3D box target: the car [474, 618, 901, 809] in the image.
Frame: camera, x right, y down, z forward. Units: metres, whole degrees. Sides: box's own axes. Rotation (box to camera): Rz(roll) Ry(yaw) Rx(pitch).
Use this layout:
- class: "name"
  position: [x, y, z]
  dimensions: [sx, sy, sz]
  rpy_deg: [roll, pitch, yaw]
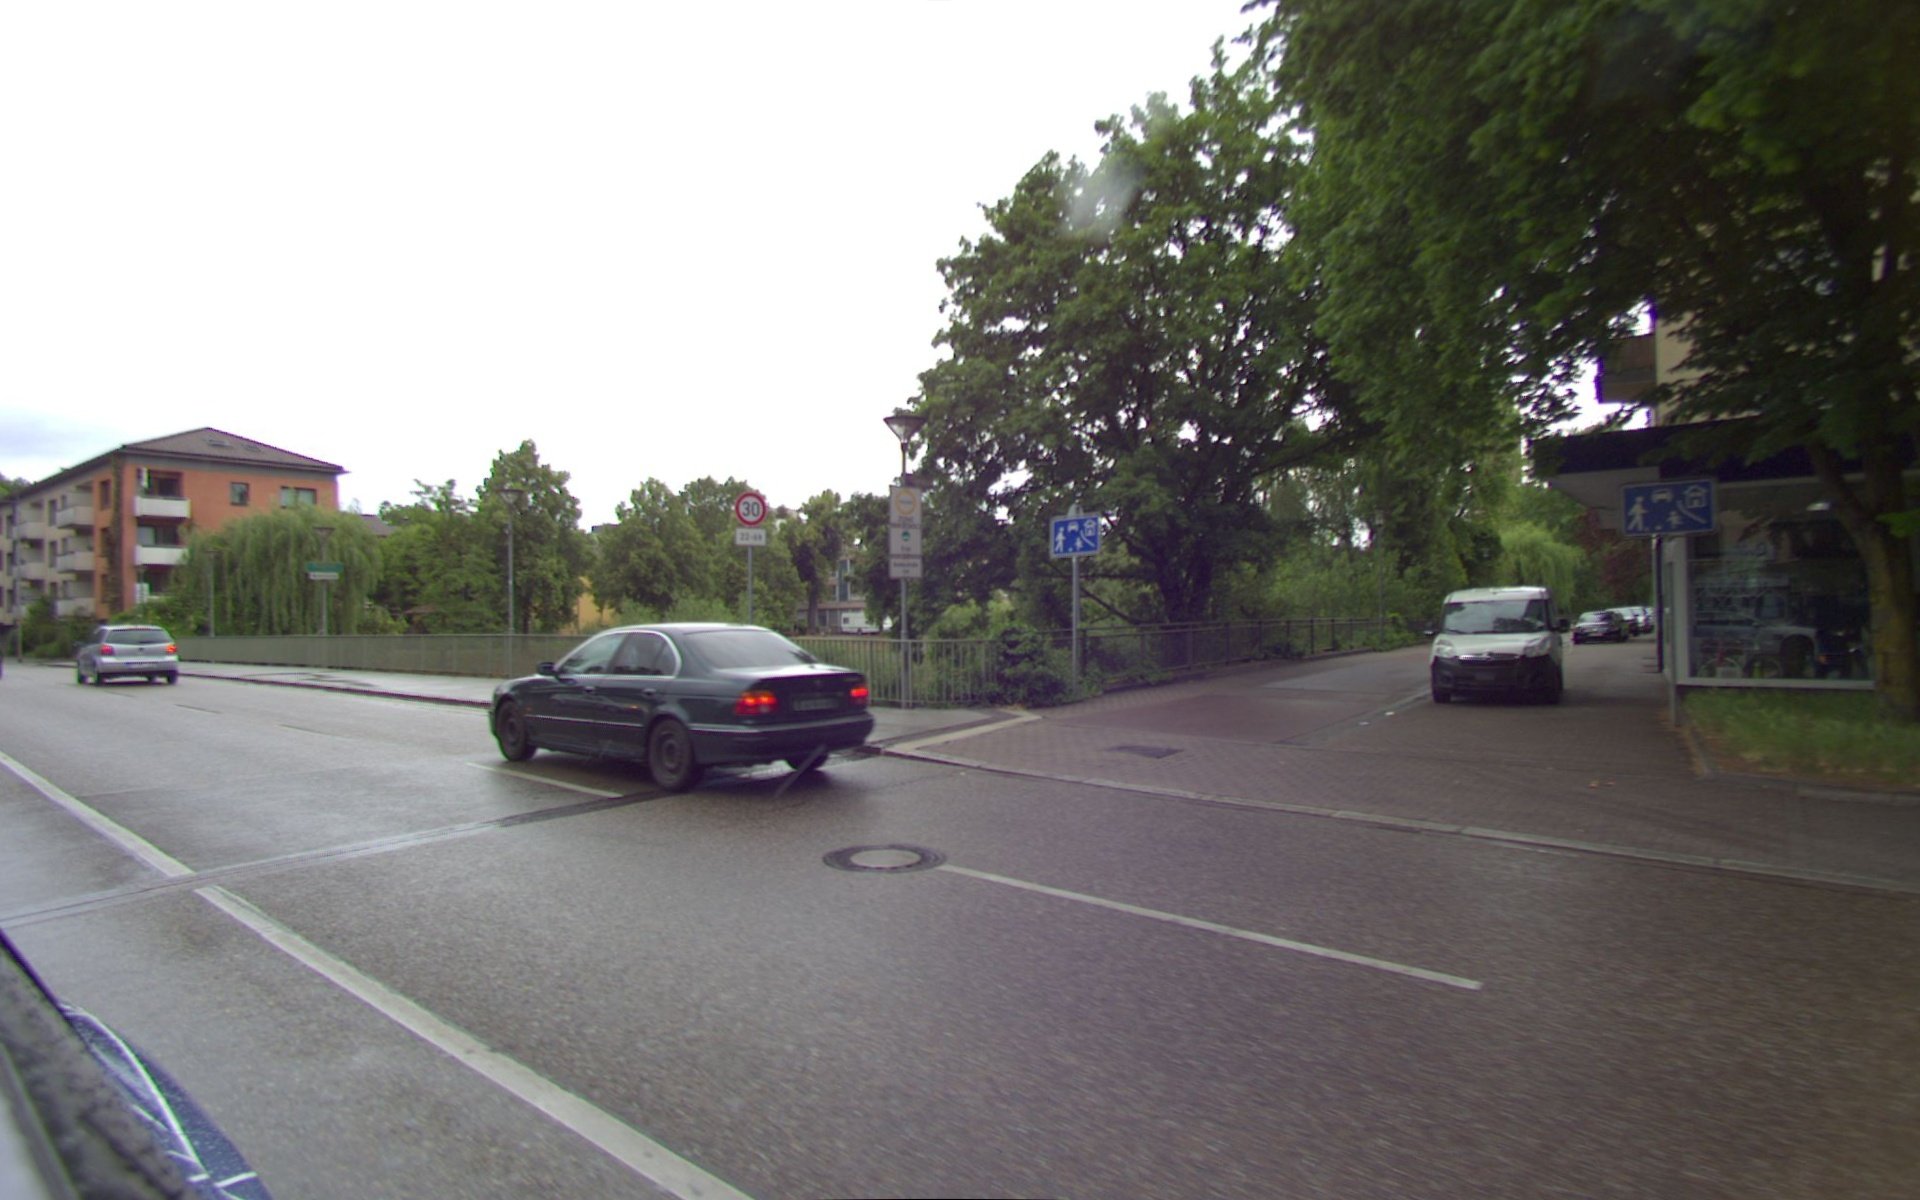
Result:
- class: "car"
  position: [-2.796, 0.924, 9.885]
  dimensions: [4.421, 1.471, 1.712]
  rpy_deg: [-1, -2, 38]

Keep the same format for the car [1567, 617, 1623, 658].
- class: "car"
  position: [29.035, 1.683, 46.370]
  dimensions: [1.993, 1.666, 4.707]
  rpy_deg: [-4, -2, 31]

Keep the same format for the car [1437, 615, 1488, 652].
- class: "car"
  position: [22.877, 1.515, 45.974]
  dimensions: [1.735, 1.593, 3.845]
  rpy_deg: [-2, -2, 31]

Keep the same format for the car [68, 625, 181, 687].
- class: "car"
  position: [-21.040, 1.359, 25.447]
  dimensions: [3.684, 1.430, 1.609]
  rpy_deg: [-1, -2, 41]

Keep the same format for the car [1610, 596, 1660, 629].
- class: "car"
  position: [37.195, 0.673, 55.830]
  dimensions: [1.993, 1.666, 4.707]
  rpy_deg: [-4, -2, 31]

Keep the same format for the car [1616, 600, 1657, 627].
- class: "car"
  position: [45.366, 0.920, 67.966]
  dimensions: [1.993, 1.666, 4.707]
  rpy_deg: [-4, -2, 31]

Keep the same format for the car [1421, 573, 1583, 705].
- class: "car"
  position: [9.133, 0.616, 16.870]
  dimensions: [1.993, 1.868, 4.707]
  rpy_deg: [-4, -2, 31]

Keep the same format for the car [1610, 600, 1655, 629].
- class: "car"
  position: [41.654, 0.897, 62.748]
  dimensions: [1.993, 1.666, 4.707]
  rpy_deg: [-4, -2, 31]

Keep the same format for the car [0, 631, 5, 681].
- class: "car"
  position: [-29.610, 1.635, 29.792]
  dimensions: [4.091, 1.427, 1.692]
  rpy_deg: [-2, -3, 40]
